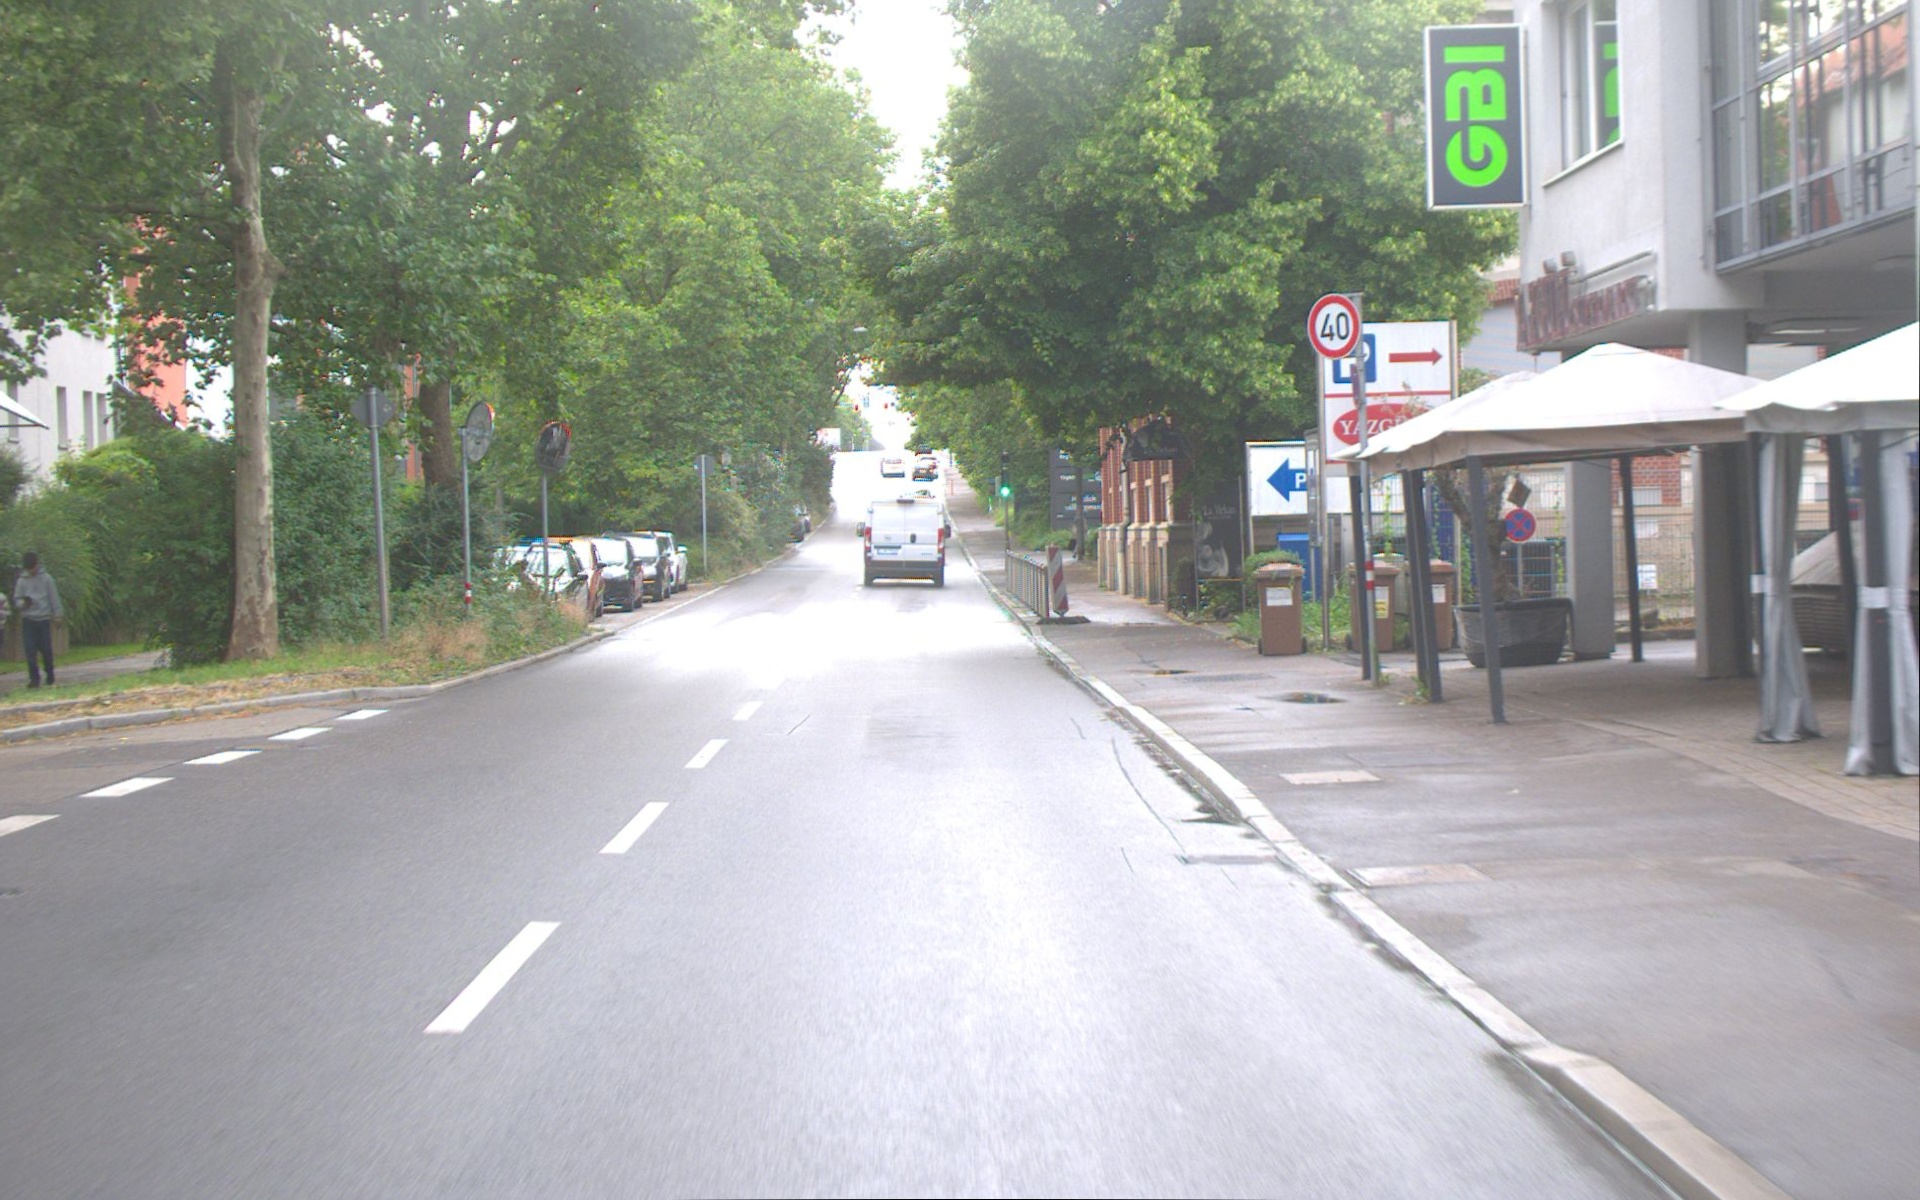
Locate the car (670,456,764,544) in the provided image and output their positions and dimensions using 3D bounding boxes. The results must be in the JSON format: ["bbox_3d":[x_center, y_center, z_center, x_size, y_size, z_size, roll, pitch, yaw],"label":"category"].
[{"bbox_3d":[-6.905,-2.820,98.180,2.215,2.286,4.609,1,-1,2],"label":"car"}]

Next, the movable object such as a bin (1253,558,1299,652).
[{"bbox_3d":[3.661,0.056,39.834,0.399,1.063,0.358,-4,0,-7],"label":"movable object such as a bin"}]

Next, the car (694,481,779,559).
[{"bbox_3d":[-6.993,-2.496,107.954,2.215,2.286,4.609,1,0,2],"label":"car"}]

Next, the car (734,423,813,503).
[{"bbox_3d":[-6.187,-4.547,114.543,2.215,2.286,4.608,1,-2,2],"label":"car"}]

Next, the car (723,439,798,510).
[{"bbox_3d":[-7.062,-4.421,121.871,2.215,2.286,4.609,1,-1,2],"label":"car"}]

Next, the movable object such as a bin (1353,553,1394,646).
[{"bbox_3d":[4.790,-0.006,39.814,0.399,1.063,0.358,0,-1,-7],"label":"movable object such as a bin"}]

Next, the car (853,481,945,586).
[{"bbox_3d":[-1.530,-1.661,87.445,2.282,2.544,4.000,0,-1,0],"label":"car"}]

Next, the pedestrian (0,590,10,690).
[{"bbox_3d":[-11.000,0.443,38.282,0.681,1.104,0.623,1,-1,-3],"label":"pedestrian"}]

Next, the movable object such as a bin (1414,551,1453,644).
[{"bbox_3d":[5.486,-0.023,39.831,0.356,1.063,0.358,1,-1,-7],"label":"movable object such as a bin"}]

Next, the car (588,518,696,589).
[{"bbox_3d":[-7.543,-1.083,81.999,1.995,1.538,4.609,1,-1,2],"label":"car"}]

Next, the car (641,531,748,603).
[{"bbox_3d":[-6.707,-0.817,87.355,2.215,1.685,4.609,1,-1,2],"label":"car"}]

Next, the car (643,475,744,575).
[{"bbox_3d":[-7.183,-1.995,93.138,2.215,2.525,4.609,1,-1,2],"label":"car"}]

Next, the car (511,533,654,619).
[{"bbox_3d":[-7.516,-0.455,68.883,2.215,1.587,4.609,1,-1,2],"label":"car"}]

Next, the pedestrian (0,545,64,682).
[{"bbox_3d":[-10.816,0.157,39.883,0.681,1.565,0.623,1,0,-3],"label":"pedestrian"}]

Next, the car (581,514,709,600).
[{"bbox_3d":[-6.845,-0.918,75.170,2.215,1.723,4.609,1,-1,2],"label":"car"}]
